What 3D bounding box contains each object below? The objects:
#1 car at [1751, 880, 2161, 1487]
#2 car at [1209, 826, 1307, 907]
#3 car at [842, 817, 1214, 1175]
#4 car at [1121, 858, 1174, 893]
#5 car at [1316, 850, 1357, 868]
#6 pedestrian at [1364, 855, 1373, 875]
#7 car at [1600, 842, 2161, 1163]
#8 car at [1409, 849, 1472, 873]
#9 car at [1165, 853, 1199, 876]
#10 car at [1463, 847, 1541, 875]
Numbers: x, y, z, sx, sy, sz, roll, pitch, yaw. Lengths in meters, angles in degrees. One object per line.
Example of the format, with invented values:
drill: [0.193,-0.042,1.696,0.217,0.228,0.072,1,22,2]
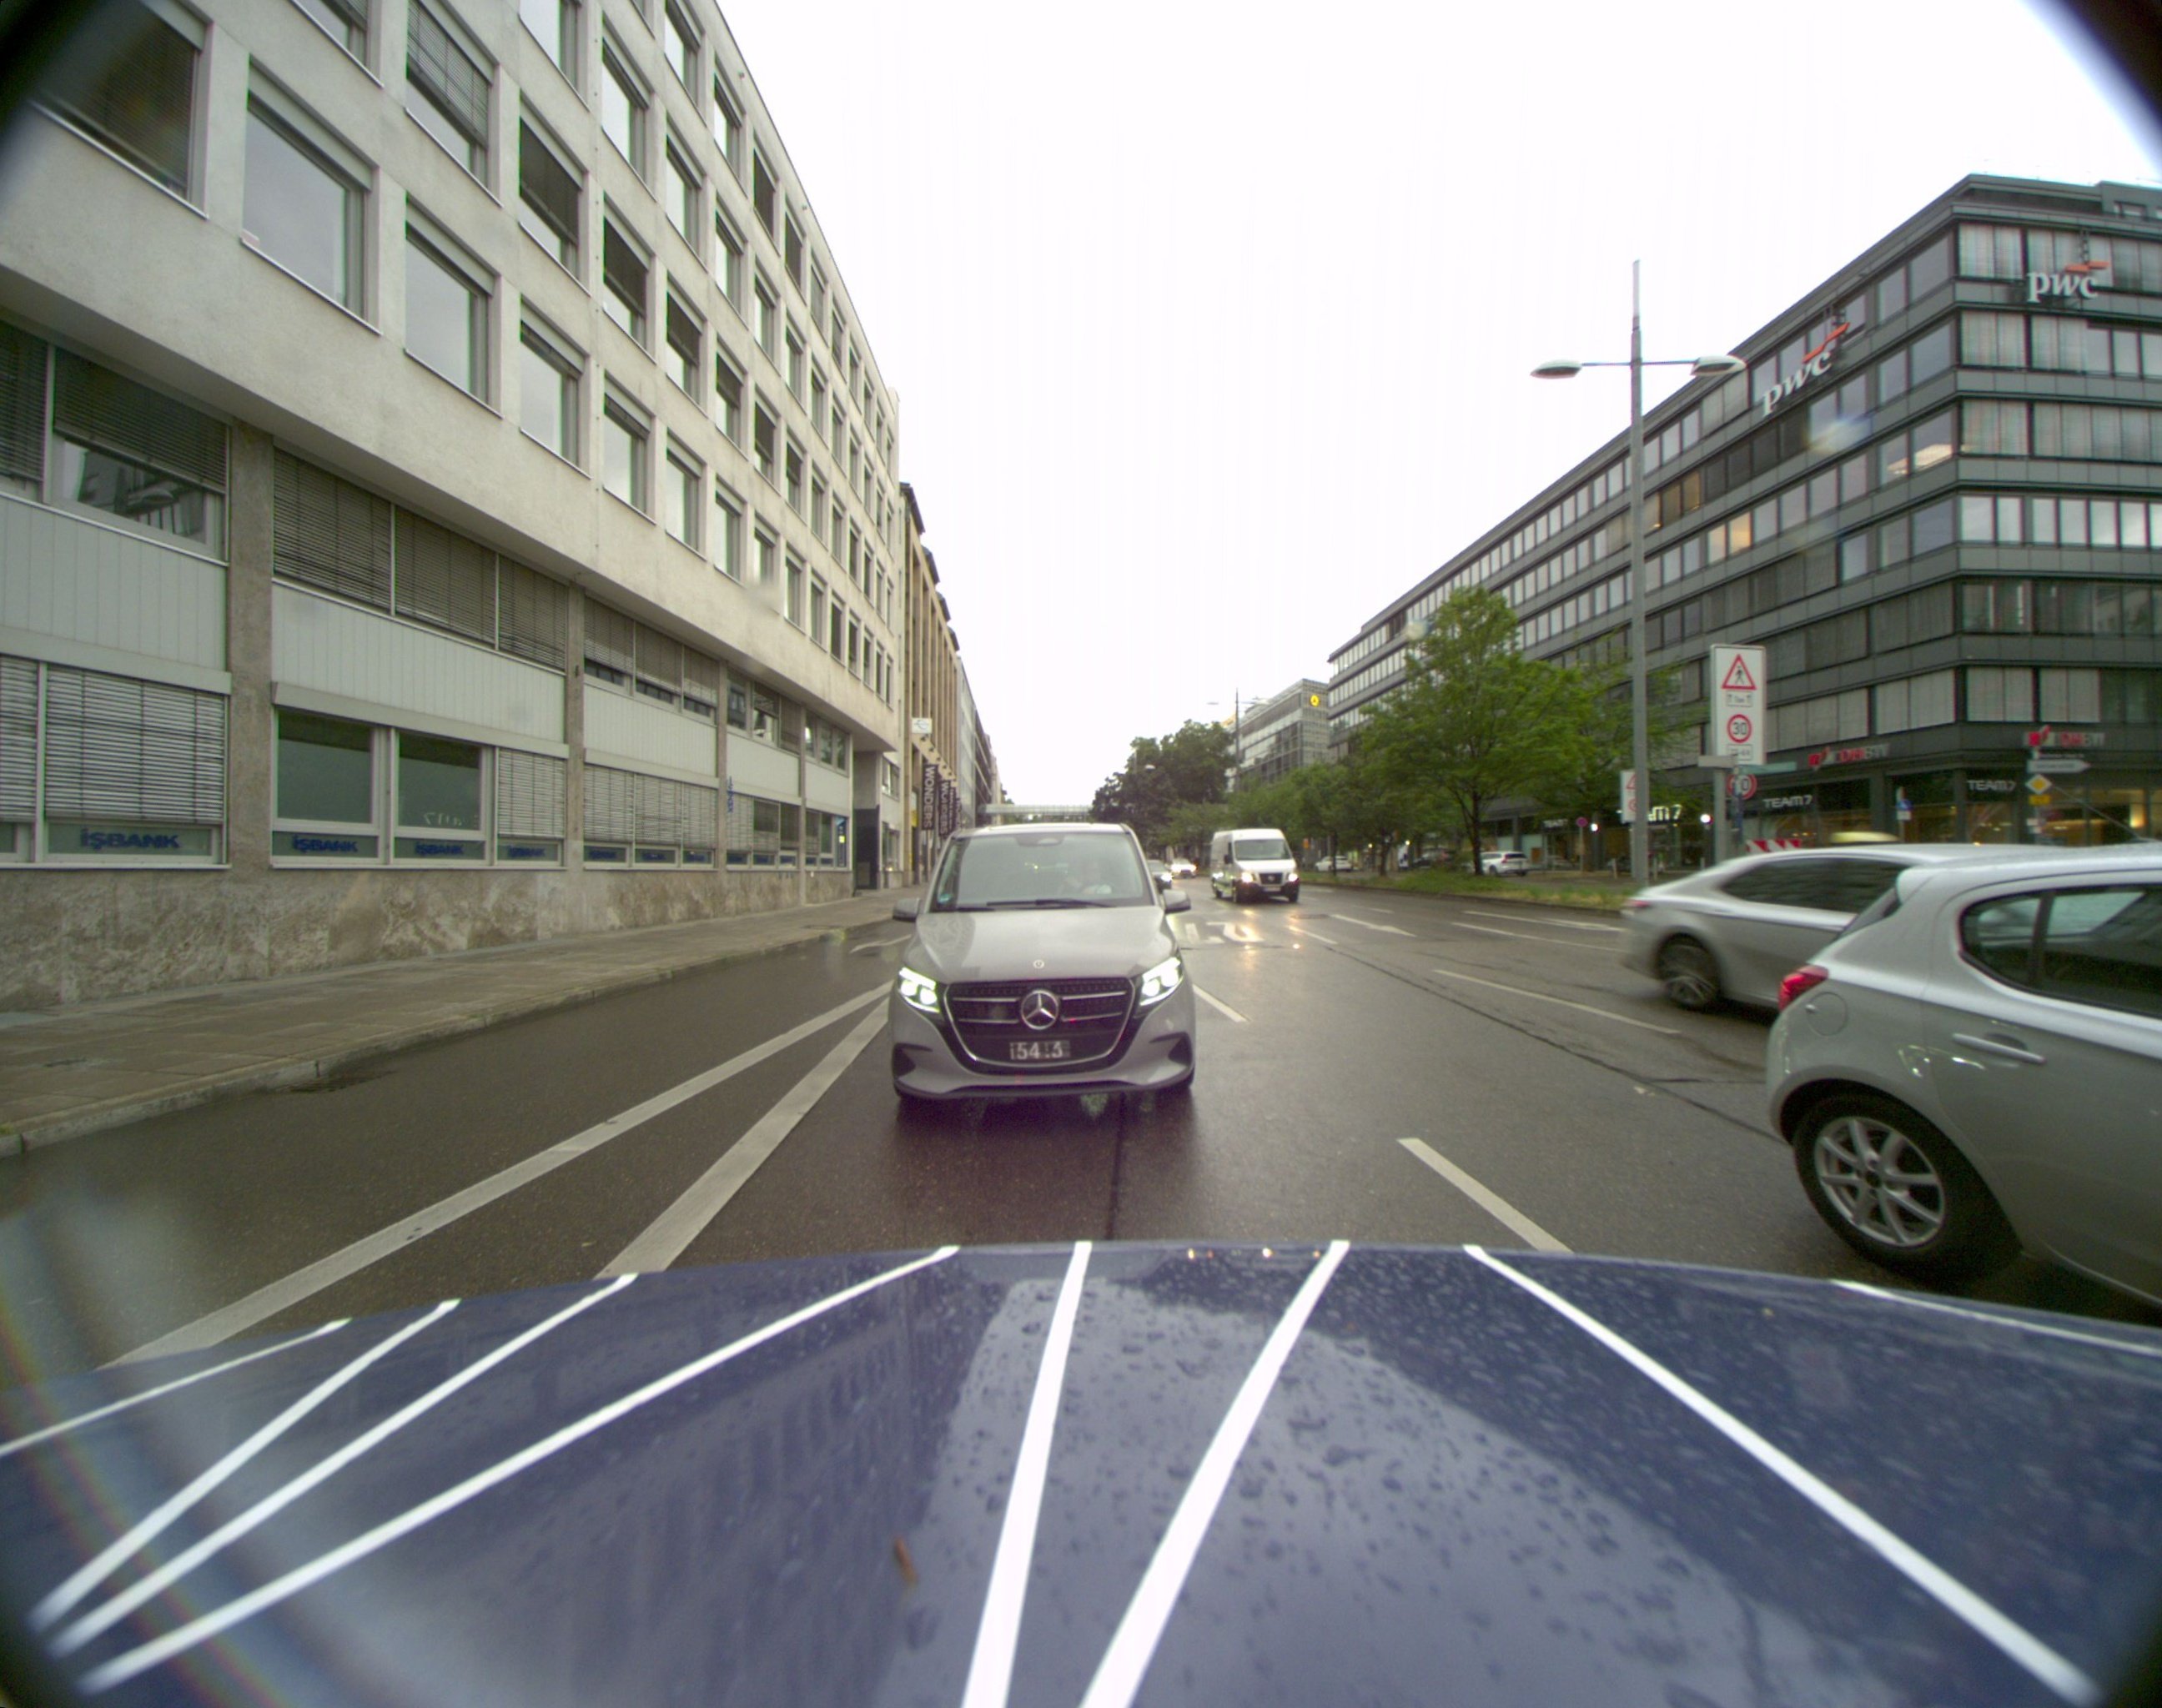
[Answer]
car: [3.512,0.839,1.082,1.652,1.427,3.875,-2,0,0]
car: [5.875,0.391,25.995,1.951,2.426,5.480,-2,0,0]
car: [-0.298,0.763,6.564,1.916,1.844,5.026,-2,0,0]
car: [2.954,0.917,34.474,1.776,1.427,4.093,-2,0,-4]
car: [22.385,0.455,66.668,1.999,1.498,3.999,-2,0,-4]
pedestrian: [28.555,1.113,75.529,0.689,2.002,0.501,-2,0,-3]
car: [6.157,0.716,5.211,1.870,1.524,4.777,-2,0,-1]
car: [23.638,0.445,50.123,1.999,1.498,4.106,-2,0,-4]
car: [7.433,0.757,56.021,1.766,1.608,3.494,-2,0,-4]
car: [24.096,0.386,43.665,1.999,1.498,3.999,-2,0,-4]
